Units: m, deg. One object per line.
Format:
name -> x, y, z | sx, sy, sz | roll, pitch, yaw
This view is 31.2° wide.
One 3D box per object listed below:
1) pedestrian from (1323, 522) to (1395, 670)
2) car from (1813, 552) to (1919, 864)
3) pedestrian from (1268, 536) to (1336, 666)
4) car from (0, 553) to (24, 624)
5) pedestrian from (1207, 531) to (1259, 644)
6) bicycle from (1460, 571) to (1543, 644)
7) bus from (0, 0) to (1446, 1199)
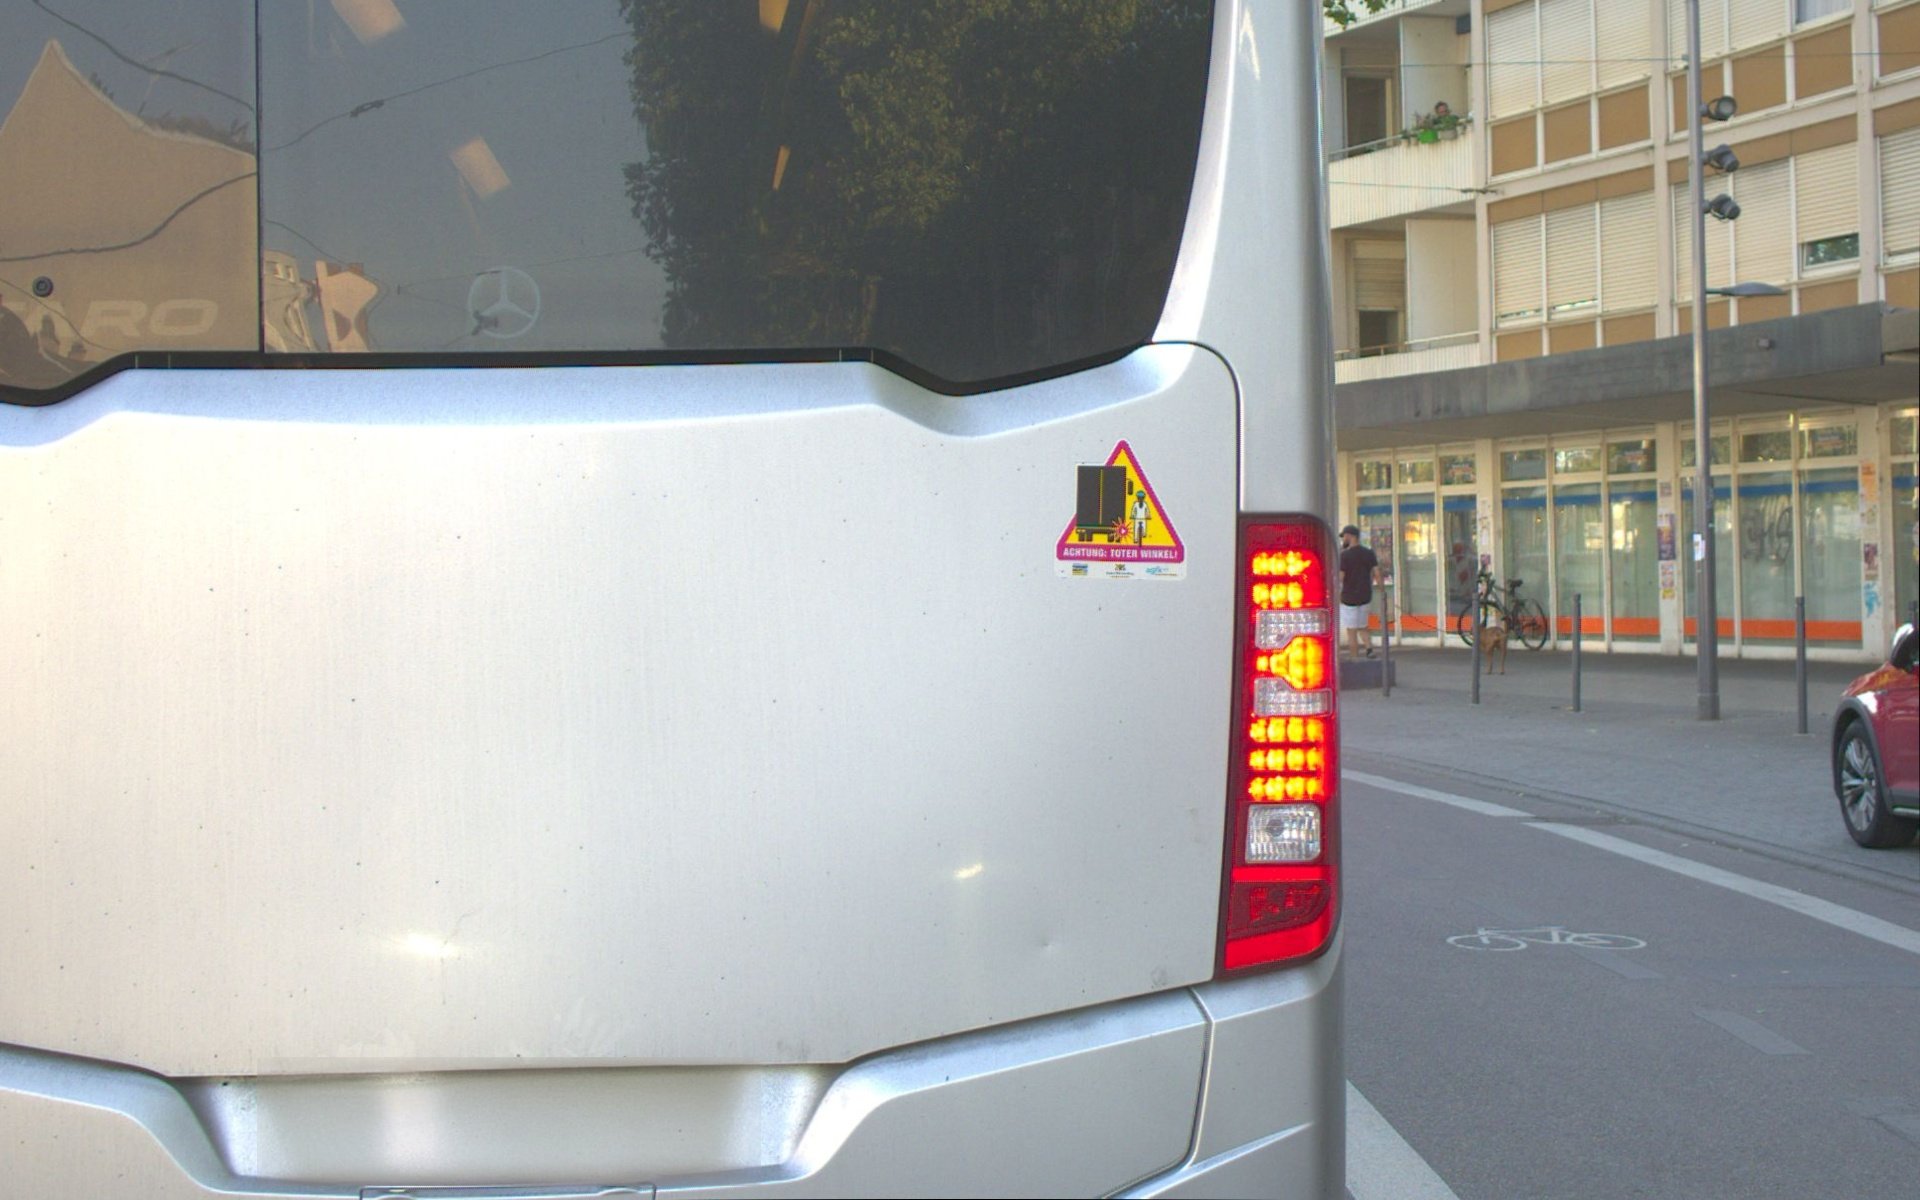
pedestrian -> 4.700, -0.051, 40.496 | 0.645, 1.711, 0.560 | -1, 1, -16
car -> 5.523, 0.503, 15.875 | 1.769, 1.477, 4.304 | -2, 1, -4
pedestrian -> 4.203, 0.008, 42.229 | 0.645, 1.576, 0.560 | -1, 1, -16
car -> -25.841, -0.309, 88.186 | 1.994, 1.785, 3.998 | 1, 0, -41
pedestrian -> 4.019, -0.187, 50.677 | 0.535, 1.643, 0.616 | -1, 1, -17
bicycle -> 7.159, 0.095, 45.515 | 0.412, 0.941, 1.441 | -1, 1, -20
bus -> -0.704, -0.135, 9.791 | 2.630, 3.017, 9.998 | 0, 1, -1
